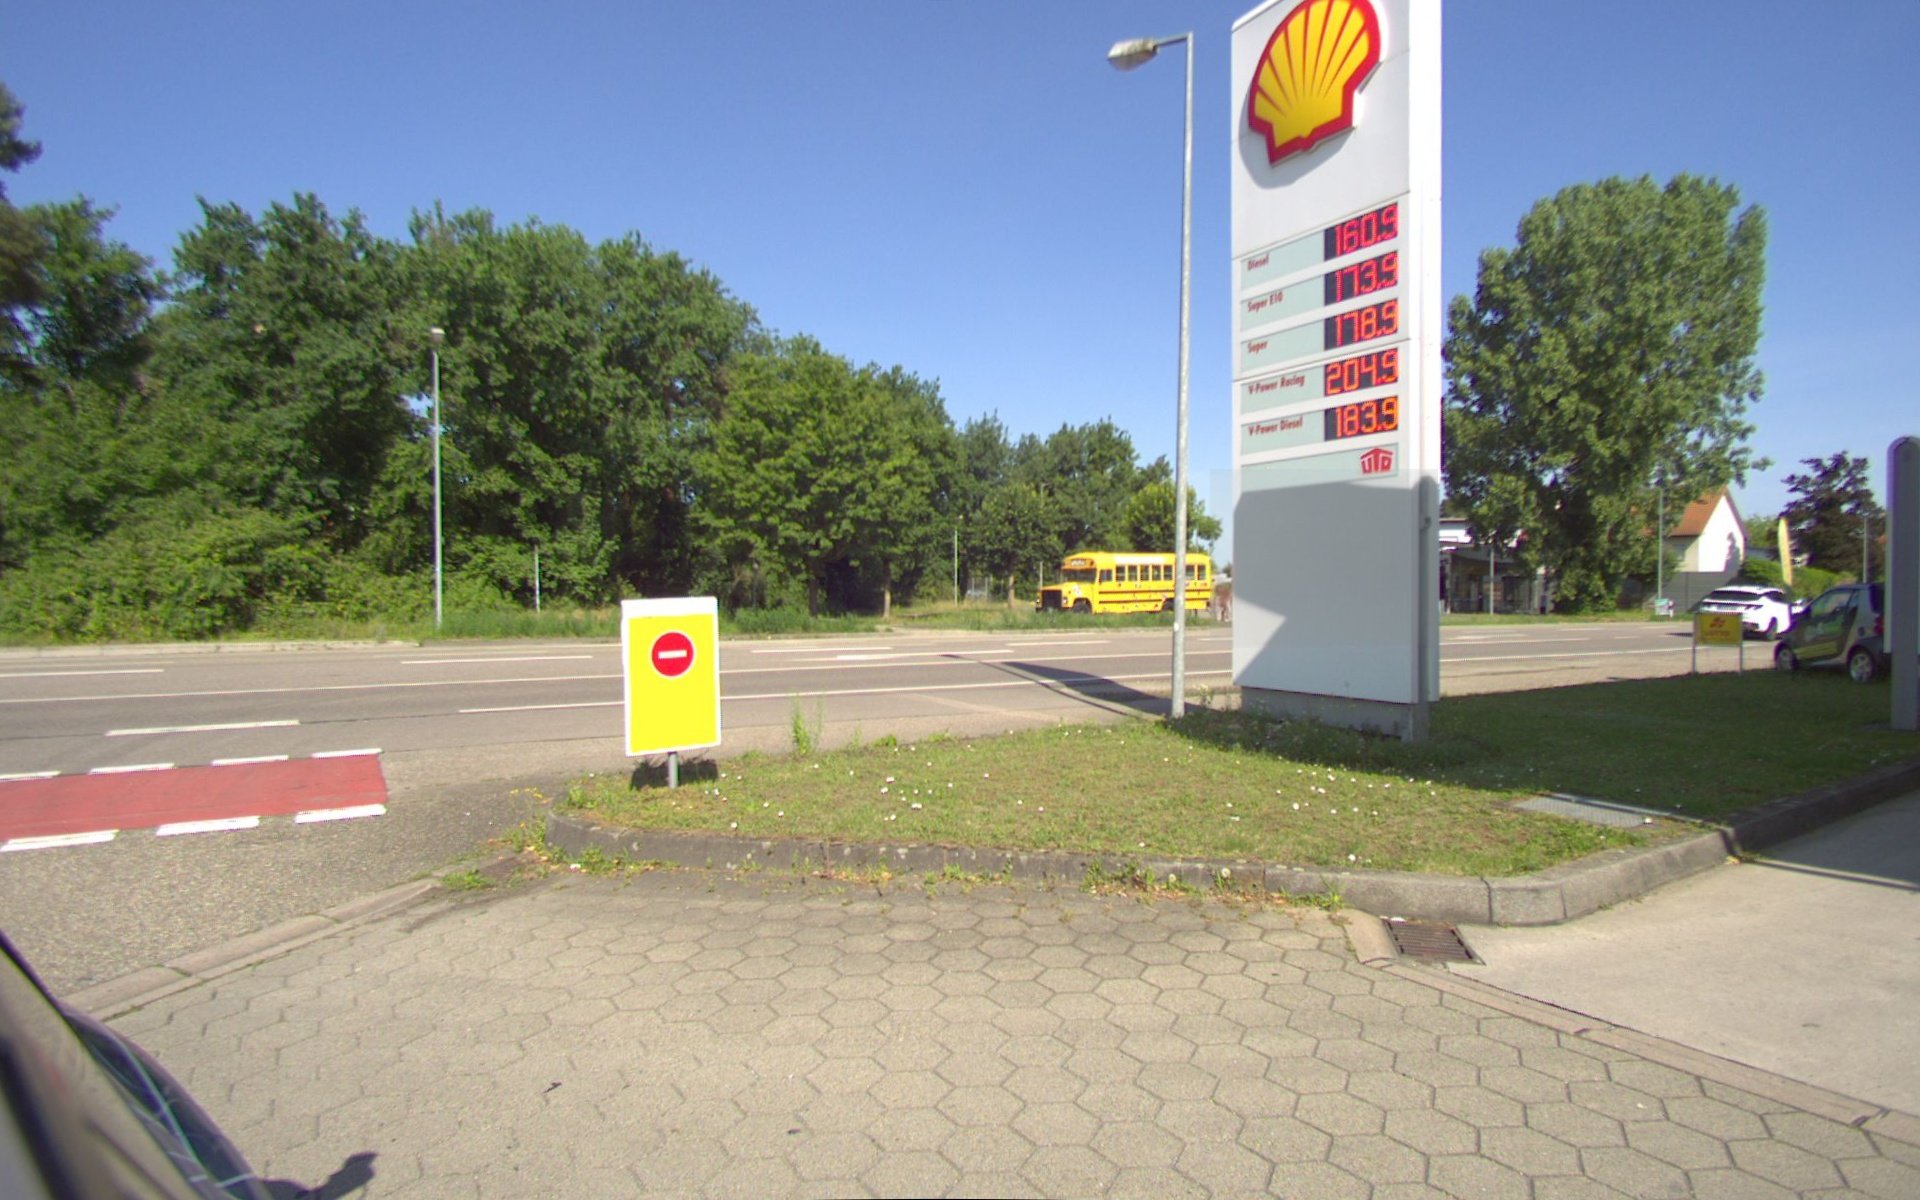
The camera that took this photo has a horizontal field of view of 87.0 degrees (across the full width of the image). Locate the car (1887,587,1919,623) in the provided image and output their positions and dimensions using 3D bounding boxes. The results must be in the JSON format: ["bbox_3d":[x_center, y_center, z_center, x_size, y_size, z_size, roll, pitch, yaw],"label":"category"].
[{"bbox_3d":[40.647,0.213,42.409,3.987,1.441,1.656,0,3,-33],"label":"car"}]

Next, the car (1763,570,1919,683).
[{"bbox_3d":[13.759,0.379,15.171,1.561,1.541,2.721,2,1,11],"label":"car"}]

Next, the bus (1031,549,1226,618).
[{"bbox_3d":[7.320,-0.652,43.144,8.847,2.699,2.595,0,2,-35],"label":"bus"}]

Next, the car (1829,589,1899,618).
[{"bbox_3d":[49.184,0.174,55.058,3.932,1.469,1.832,1,2,-33],"label":"car"}]

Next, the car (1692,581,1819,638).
[{"bbox_3d":[25.078,0.255,31.867,4.234,1.660,1.819,0,2,-32],"label":"car"}]
